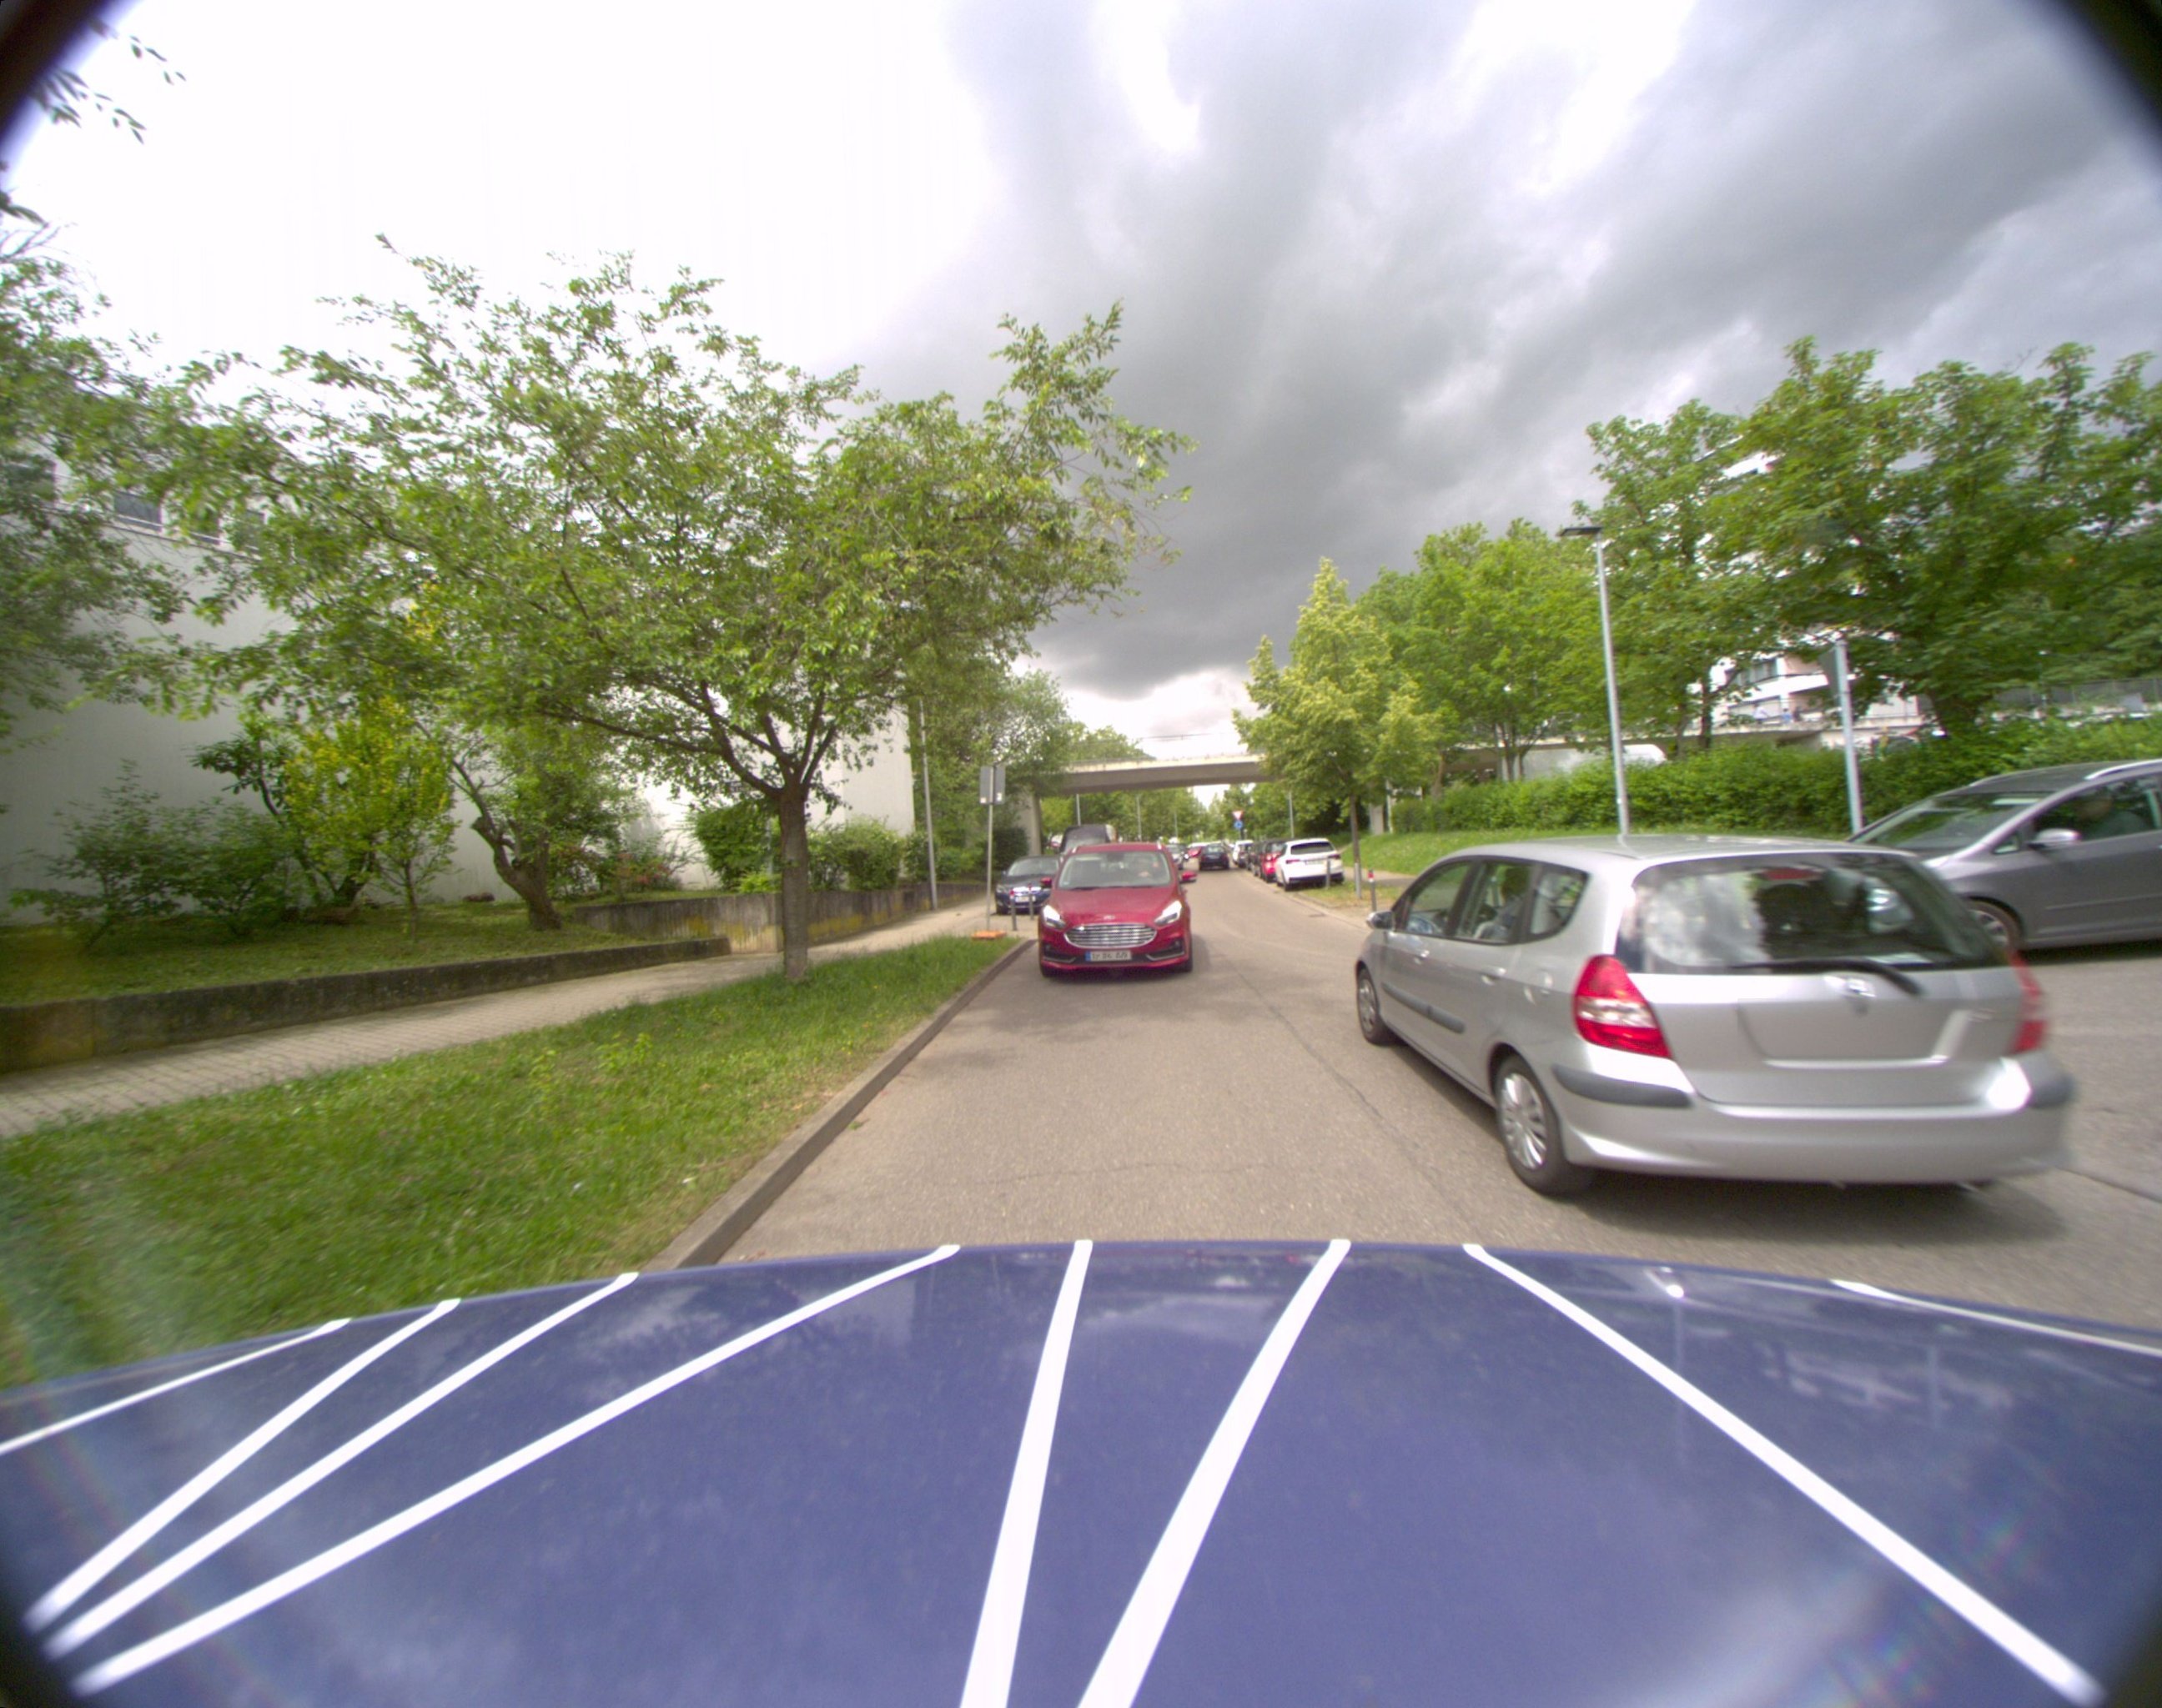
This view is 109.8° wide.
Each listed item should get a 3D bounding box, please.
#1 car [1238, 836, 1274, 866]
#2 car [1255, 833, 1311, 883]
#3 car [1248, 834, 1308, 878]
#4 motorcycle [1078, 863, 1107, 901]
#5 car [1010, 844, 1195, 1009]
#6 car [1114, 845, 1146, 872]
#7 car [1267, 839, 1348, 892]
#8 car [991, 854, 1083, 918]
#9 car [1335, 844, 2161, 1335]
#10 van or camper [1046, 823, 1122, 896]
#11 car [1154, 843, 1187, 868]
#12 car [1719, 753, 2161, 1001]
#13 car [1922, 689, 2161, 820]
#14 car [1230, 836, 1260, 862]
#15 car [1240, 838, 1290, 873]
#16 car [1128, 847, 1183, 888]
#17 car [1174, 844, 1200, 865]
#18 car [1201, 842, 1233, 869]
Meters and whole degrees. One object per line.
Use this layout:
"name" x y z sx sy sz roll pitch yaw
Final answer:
"car" 10.309 -0.202 44.813 1.811 1.447 3.863 -6 0 13
"car" 7.401 0.113 28.064 1.597 1.576 2.686 -7 1 10
"car" 8.227 0.042 32.006 1.812 1.575 3.987 -5 0 7
"motorcycle" 0.357 0.857 24.012 0.709 1.061 1.930 -3 1 -4
"car" 0.484 0.741 9.692 1.811 1.600 3.723 -3 1 9
"car" 3.115 0.242 47.674 1.603 1.534 3.723 -3 1 9
"car" 6.913 0.294 23.571 1.811 1.397 4.050 -3 1 8
"car" -1.051 0.770 20.119 1.694 1.412 4.001 -2 1 7
"car" 2.804 0.737 4.177 1.845 1.447 3.653 -3 1 6
"van or camper" 0.259 0.126 29.787 1.997 2.481 5.761 -3 1 9
"car" 5.805 0.055 48.772 1.779 1.443 4.002 -3 1 11
"car" 8.598 0.098 6.693 4.114 1.652 1.759 -7 1 11
"car" 18.220 -1.844 13.500 3.996 1.849 2.000 -9 1 4
"car" 10.850 -0.348 50.219 1.811 1.561 3.724 -3 1 13
"car" 9.100 0.013 37.816 1.812 1.472 4.487 -5 1 7
"car" 3.011 0.494 30.198 1.860 1.434 4.003 -4 0 9
"car" 9.041 0.026 64.935 1.780 1.412 3.998 -5 4 4
"car" 8.058 0.060 45.288 1.755 1.411 4.370 -2 1 9
